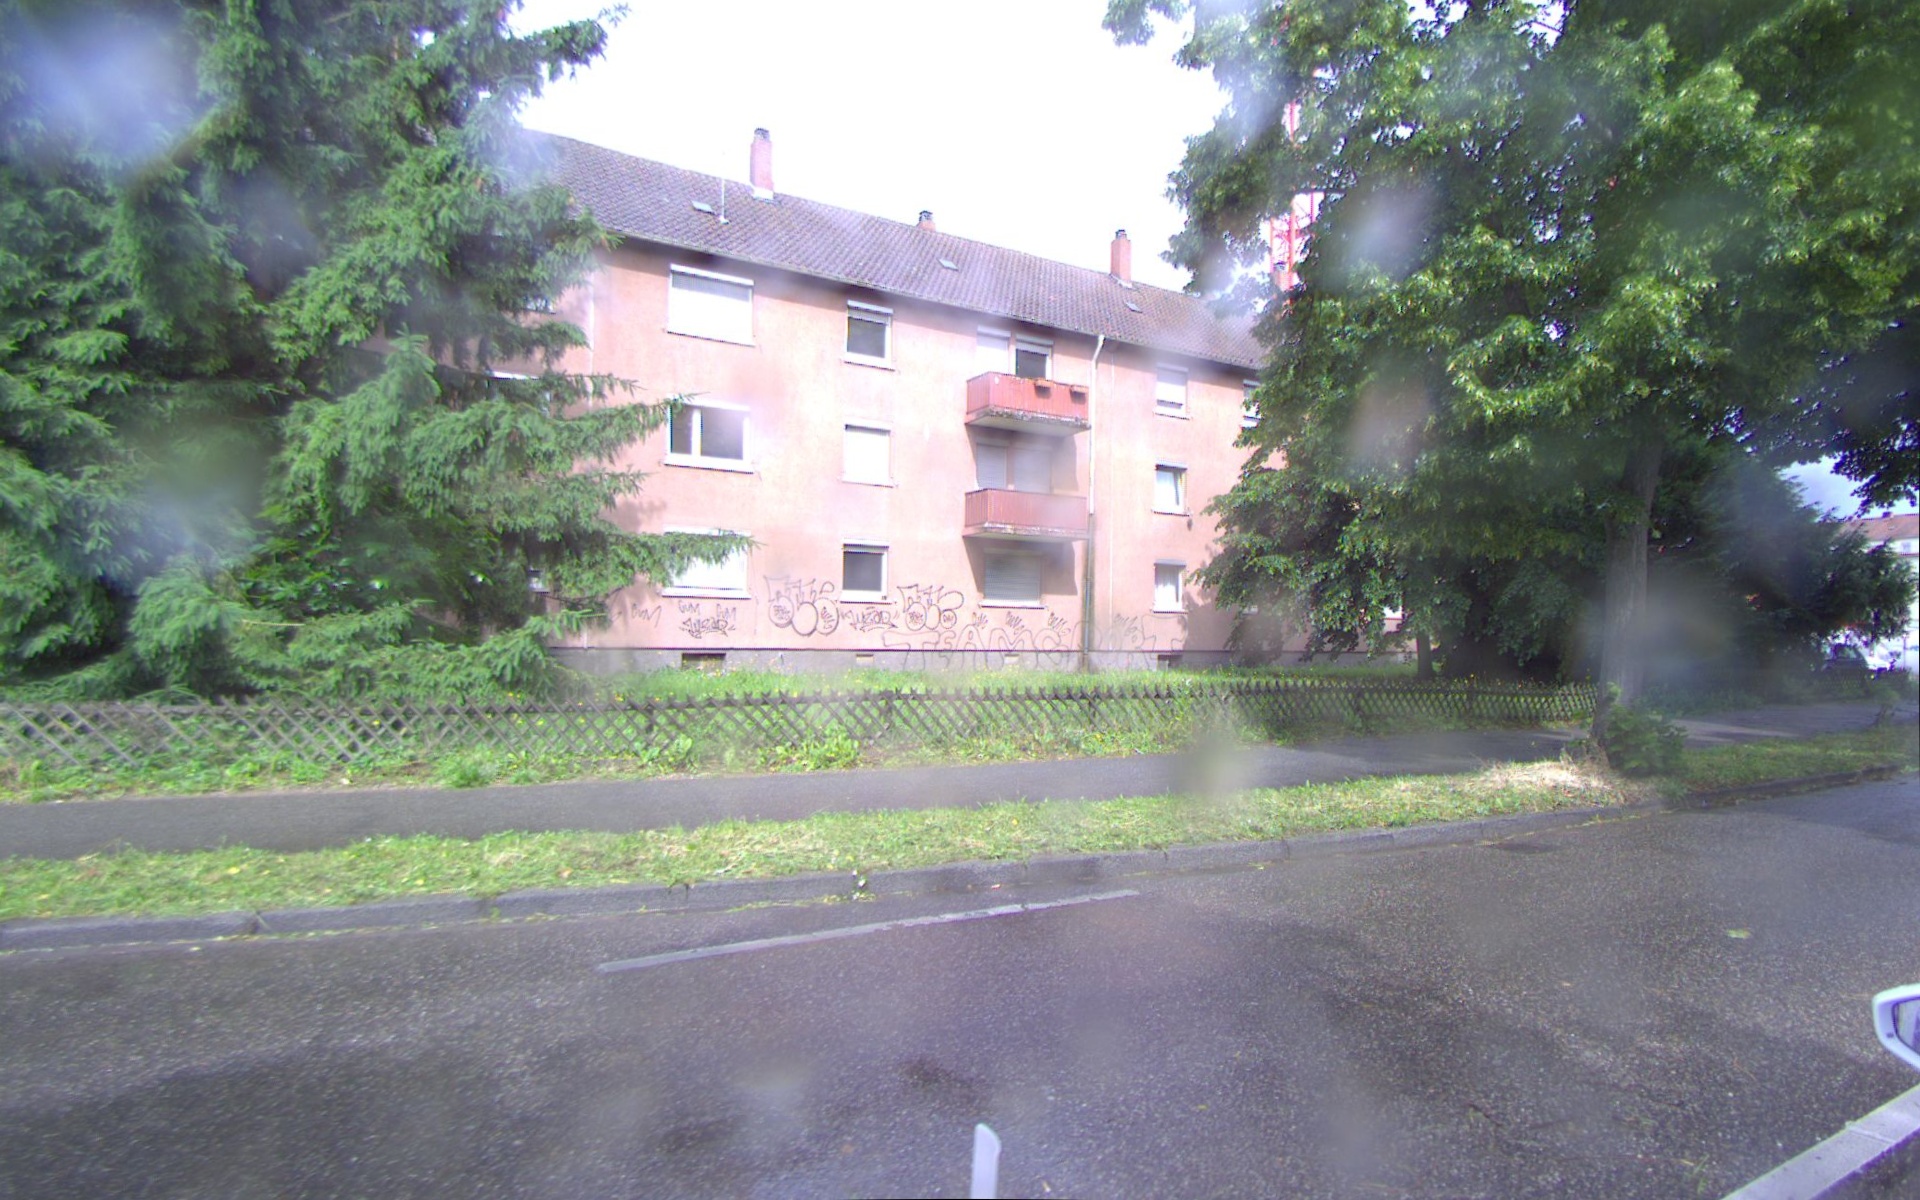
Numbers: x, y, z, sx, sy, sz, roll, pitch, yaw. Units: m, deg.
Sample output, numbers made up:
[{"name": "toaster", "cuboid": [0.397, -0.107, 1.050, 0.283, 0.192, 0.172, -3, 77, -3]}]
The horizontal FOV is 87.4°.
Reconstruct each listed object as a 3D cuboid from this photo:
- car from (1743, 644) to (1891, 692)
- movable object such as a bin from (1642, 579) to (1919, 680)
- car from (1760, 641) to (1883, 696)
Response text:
[{"name": "car", "cuboid": [30.174, 2.346, 35.501, 1.712, 1.554, 3.600, 1, -2, -20]}, {"name": "movable object such as a bin", "cuboid": [37.791, 1.312, 46.638, 3.324, 4.170, 9.773, 1, -1, -28]}, {"name": "car", "cuboid": [26.074, 2.079, 30.381, 3.825, 1.438, 1.616, 4, -2, -30]}]
